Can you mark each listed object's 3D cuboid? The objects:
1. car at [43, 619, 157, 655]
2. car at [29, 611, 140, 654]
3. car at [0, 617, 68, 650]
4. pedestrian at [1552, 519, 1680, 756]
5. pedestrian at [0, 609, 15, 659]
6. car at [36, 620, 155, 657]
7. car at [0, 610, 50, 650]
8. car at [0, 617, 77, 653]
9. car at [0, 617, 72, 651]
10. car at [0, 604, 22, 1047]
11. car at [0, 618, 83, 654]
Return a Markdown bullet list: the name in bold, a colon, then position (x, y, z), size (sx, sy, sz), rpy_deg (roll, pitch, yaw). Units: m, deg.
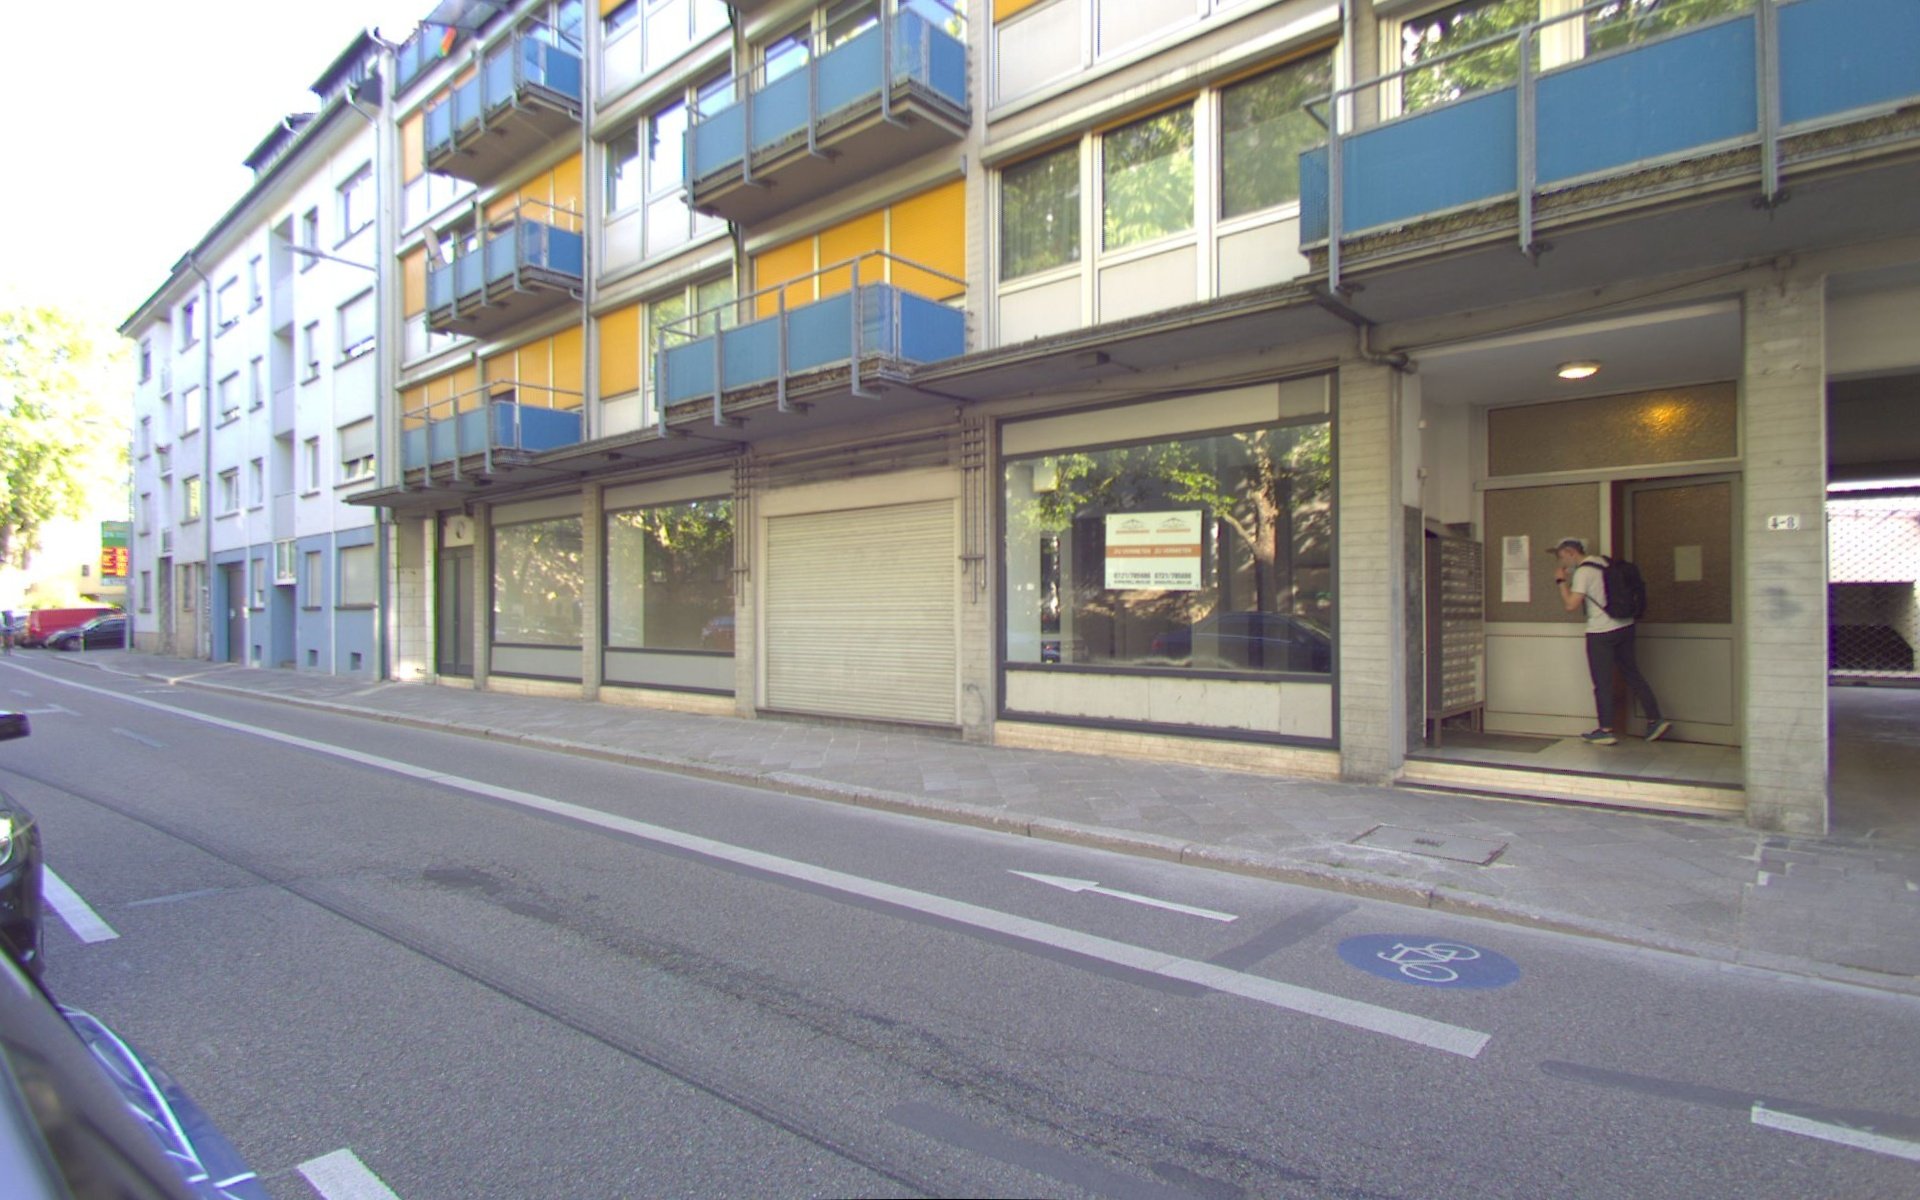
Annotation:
- **car**: position (-41.178, 1.750, 48.524), size (2.000, 1.564, 3.944), rpy_deg (-1, 0, 42)
- **car**: position (-43.433, 1.580, 50.249), size (2.000, 1.962, 3.944), rpy_deg (-1, 0, 42)
- **car**: position (-59.210, 2.118, 64.013), size (2.000, 1.962, 3.944), rpy_deg (-1, 0, 42)
- **pedestrian**: position (5.527, 0.299, 8.537), size (0.787, 1.894, 0.573), rpy_deg (-1, 0, 45)
- **pedestrian**: position (-39.082, 1.379, 41.236), size (1.045, 2.029, 0.725), rpy_deg (-1, 0, 40)
- **car**: position (-39.759, 1.732, 46.603), size (2.000, 1.564, 3.944), rpy_deg (-1, 0, 42)
- **car**: position (-62.801, 1.965, 66.782), size (2.000, 2.538, 3.944), rpy_deg (-1, 0, 42)
- **car**: position (-55.604, 2.071, 60.562), size (2.000, 1.962, 3.944), rpy_deg (-1, 0, 42)
- **car**: position (-57.410, 2.094, 62.280), size (2.000, 1.962, 3.944), rpy_deg (-1, 0, 42)
- **car**: position (-5.524, 0.809, 4.278), size (4.479, 1.512, 1.842), rpy_deg (-1, -1, 41)
- **car**: position (-53.523, 2.044, 58.610), size (2.000, 1.962, 3.944), rpy_deg (-1, 0, 42)
